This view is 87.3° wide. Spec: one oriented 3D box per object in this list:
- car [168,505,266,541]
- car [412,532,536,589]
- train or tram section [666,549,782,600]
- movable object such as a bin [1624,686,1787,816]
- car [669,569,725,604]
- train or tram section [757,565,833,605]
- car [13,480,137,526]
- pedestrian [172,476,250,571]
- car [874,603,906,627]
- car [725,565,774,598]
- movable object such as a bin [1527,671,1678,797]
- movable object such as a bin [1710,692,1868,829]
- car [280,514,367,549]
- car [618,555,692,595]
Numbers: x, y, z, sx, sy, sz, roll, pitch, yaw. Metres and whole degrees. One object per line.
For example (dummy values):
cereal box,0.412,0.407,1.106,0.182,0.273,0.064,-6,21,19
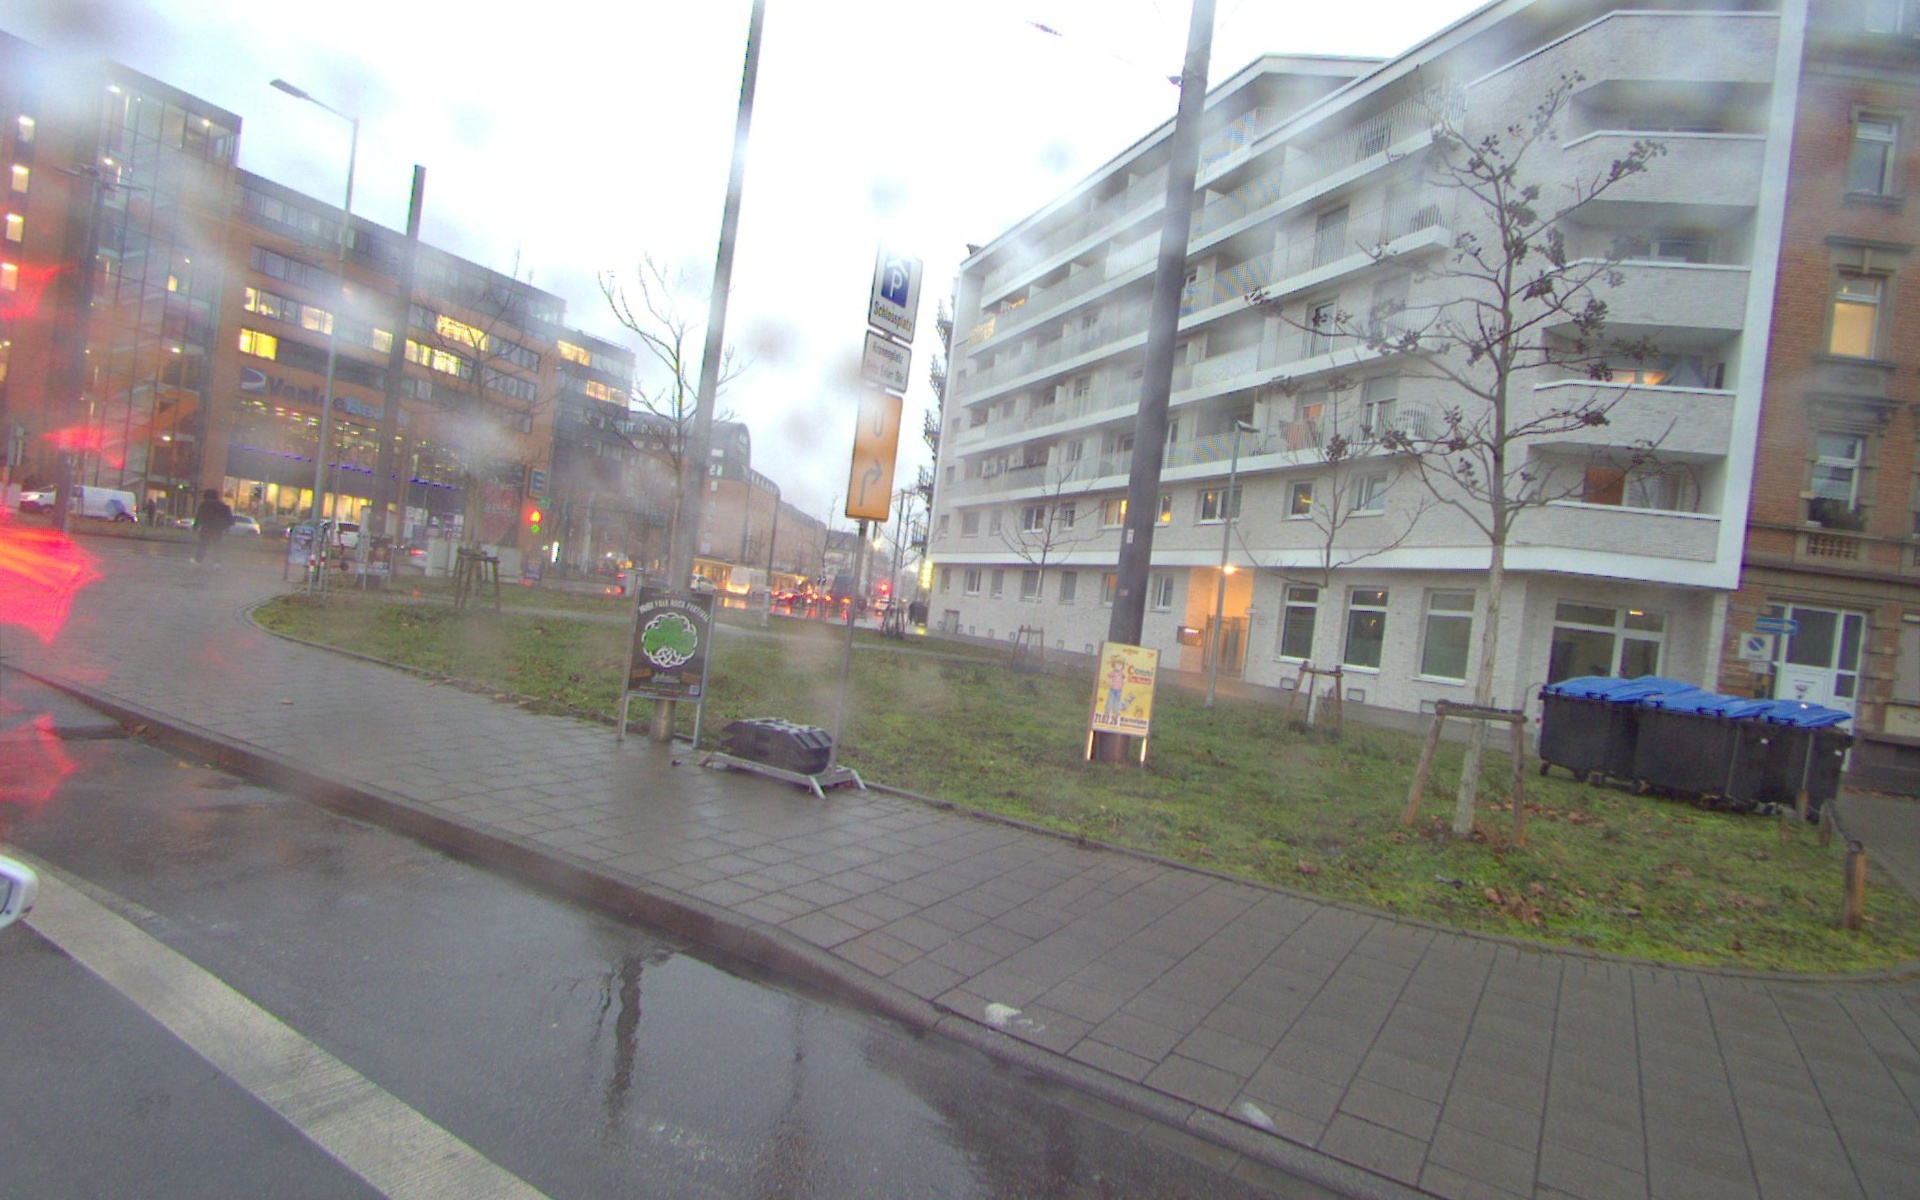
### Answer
car,-43.756,-4.518,59.314,1.767,1.406,4.227,7,-1,25
car,-20.896,-1.657,43.517,1.798,1.873,4.682,6,-1,23
train or tram section,-21.693,-2.181,94.307,2.293,3.300,16.666,7,-1,17
movable object such as a bin,9.596,1.927,12.993,1.003,1.434,1.218,6,1,-21
car,-19.957,-1.009,76.536,1.963,2.036,4.003,8,-2,22
train or tram section,-17.529,-1.484,108.268,2.293,3.300,13.005,7,-1,17
car,-46.228,-5.061,52.649,1.767,1.614,4.431,7,-1,25
pedestrian,-17.121,-1.732,23.034,1.164,1.946,0.890,10,-2,-35
car,-7.681,1.697,111.435,1.962,2.036,4.376,8,-2,16
car,-17.563,-1.490,84.129,1.962,2.036,4.957,8,-2,11
movable object such as a bin,9.049,1.868,14.218,1.016,1.513,1.324,7,0,-18
movable object such as a bin,10.720,2.052,13.048,1.021,1.507,1.039,9,-2,-12
car,-41.367,-4.439,65.450,1.767,1.553,4.444,7,-1,25
car,-17.961,-1.444,59.460,1.963,1.898,3.998,8,1,21
